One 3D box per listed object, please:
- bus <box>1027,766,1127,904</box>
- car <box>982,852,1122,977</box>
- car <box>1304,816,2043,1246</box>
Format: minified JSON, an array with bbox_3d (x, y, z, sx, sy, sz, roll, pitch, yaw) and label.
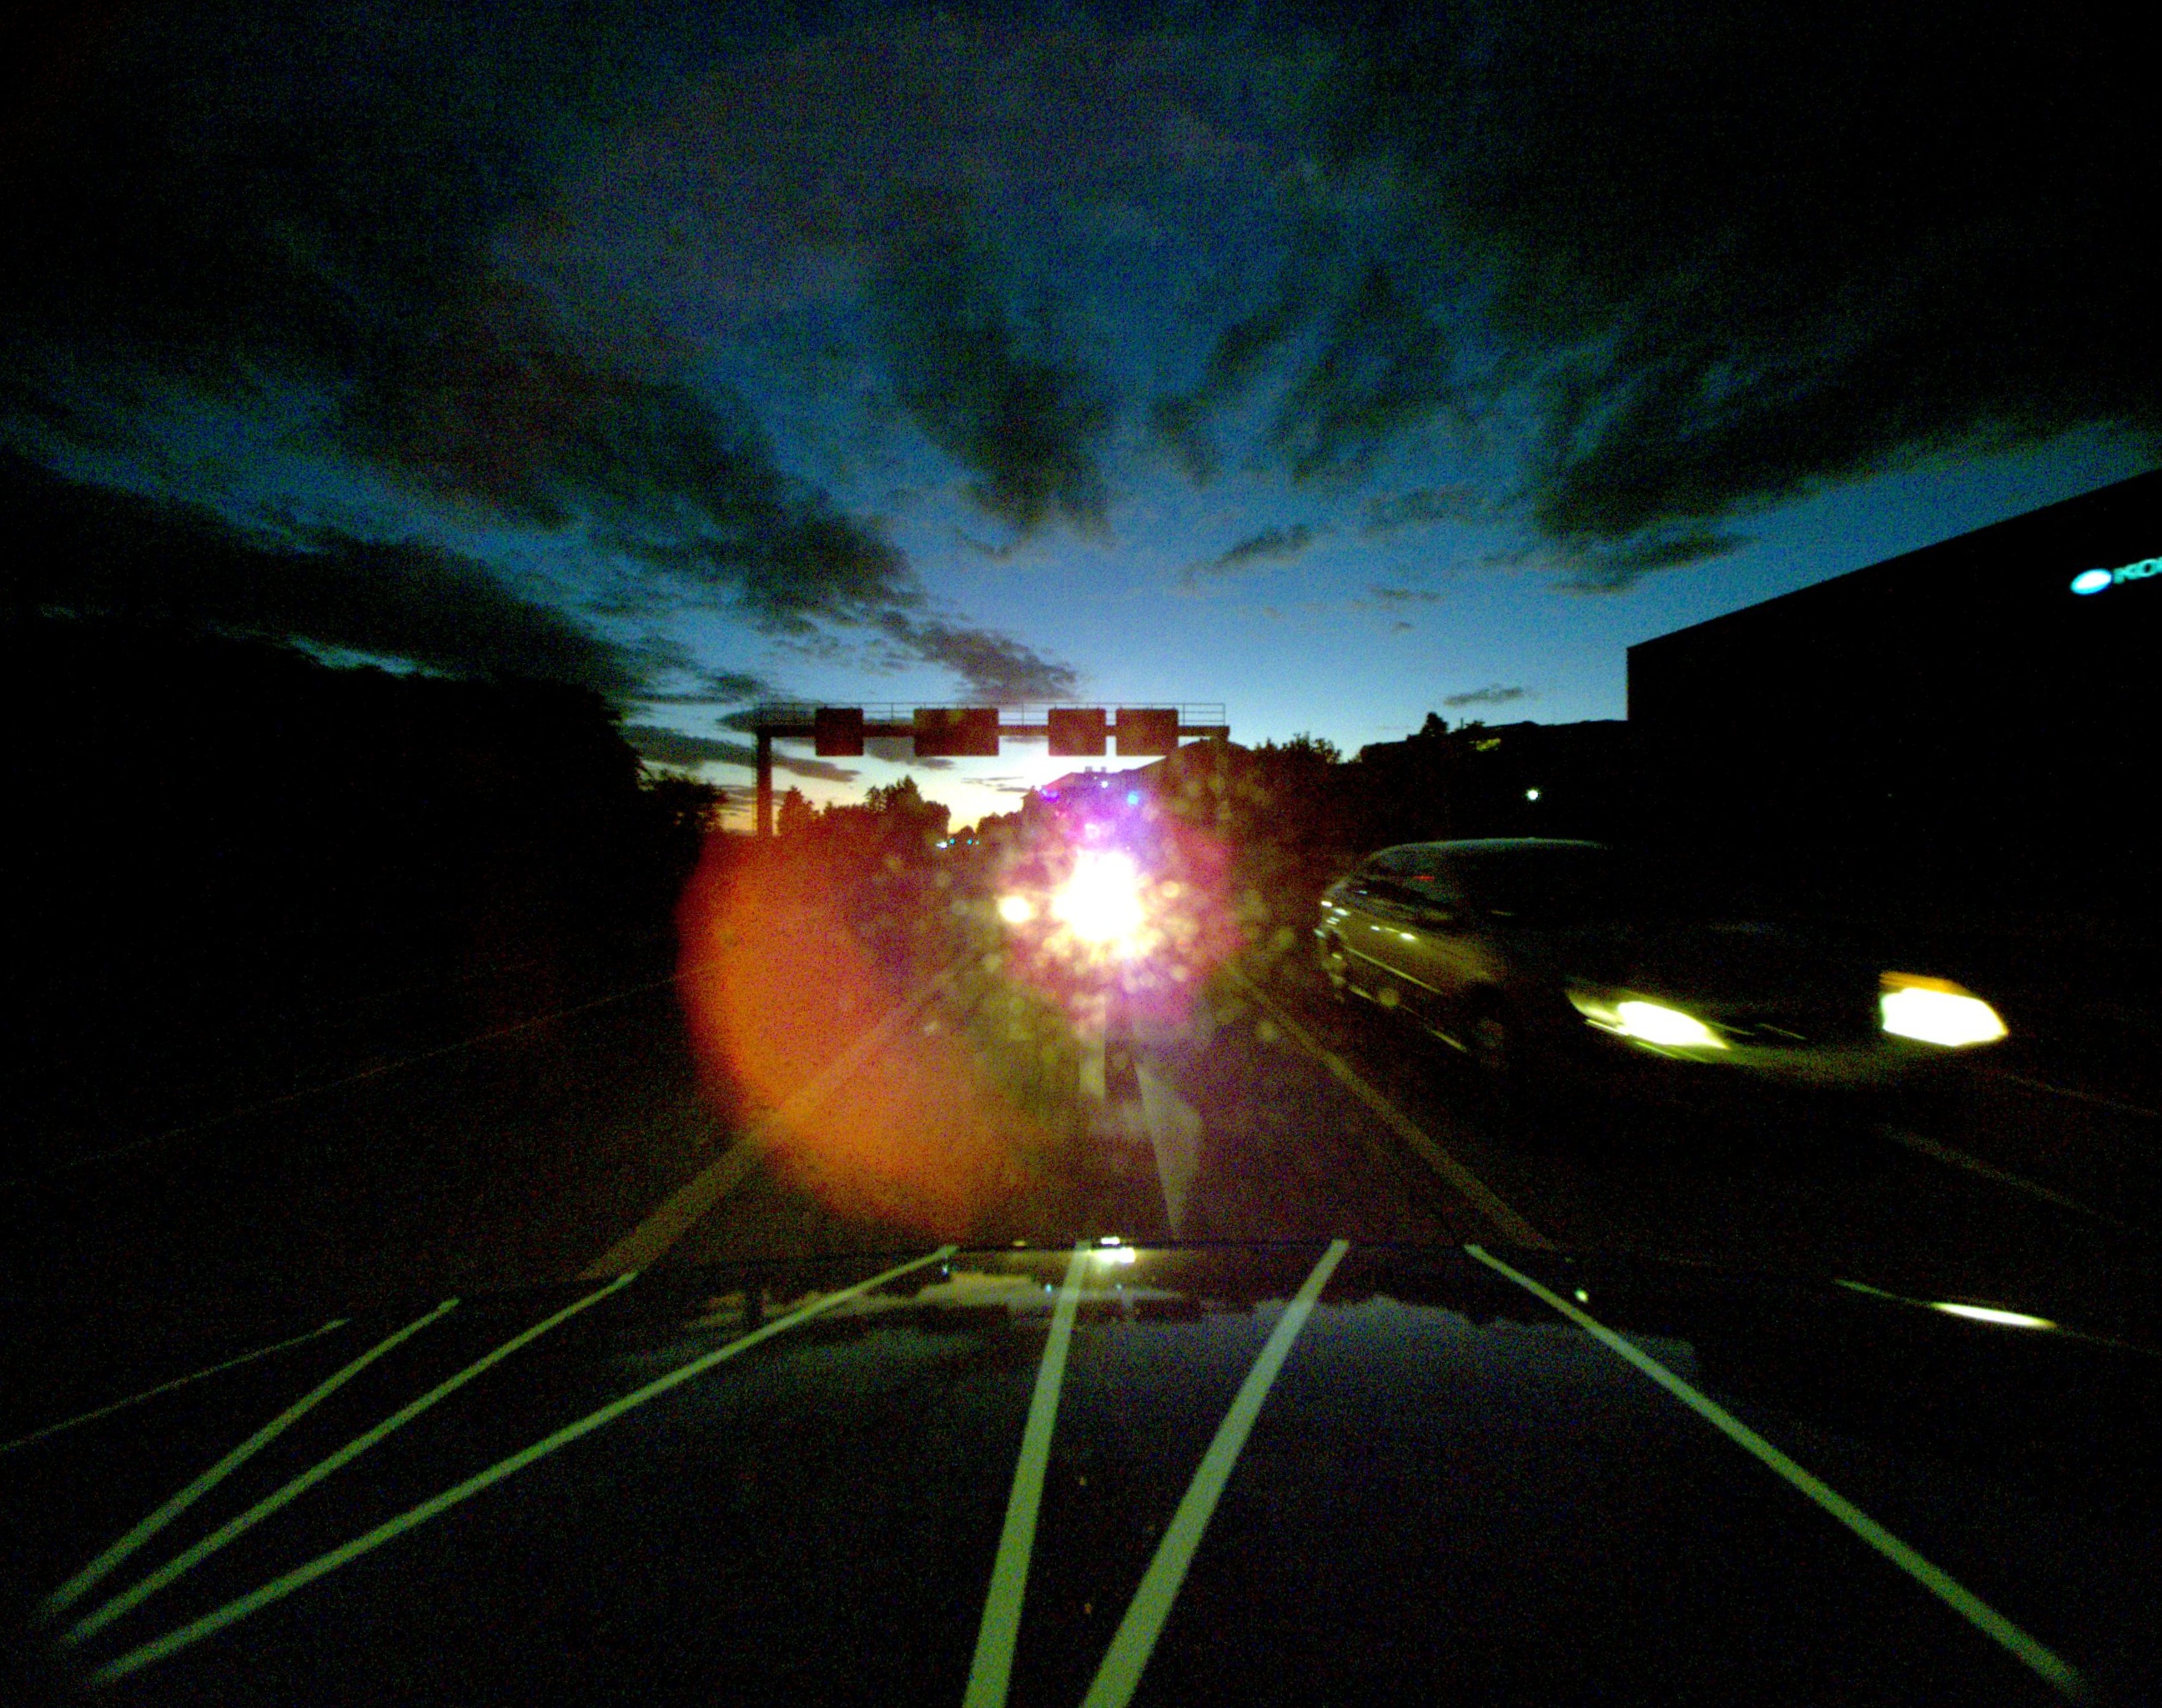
[{"bbox_3d":[-0.240,-0.641,27.426,2.614,3.769,12.271,-3,1,-1],"label":"bus"},{"bbox_3d":[-0.268,0.763,11.436,1.669,1.472,3.776,-2,1,4],"label":"car"},{"bbox_3d":[2.987,0.673,5.202,1.670,1.643,4.410,-3,1,2],"label":"car"}]
